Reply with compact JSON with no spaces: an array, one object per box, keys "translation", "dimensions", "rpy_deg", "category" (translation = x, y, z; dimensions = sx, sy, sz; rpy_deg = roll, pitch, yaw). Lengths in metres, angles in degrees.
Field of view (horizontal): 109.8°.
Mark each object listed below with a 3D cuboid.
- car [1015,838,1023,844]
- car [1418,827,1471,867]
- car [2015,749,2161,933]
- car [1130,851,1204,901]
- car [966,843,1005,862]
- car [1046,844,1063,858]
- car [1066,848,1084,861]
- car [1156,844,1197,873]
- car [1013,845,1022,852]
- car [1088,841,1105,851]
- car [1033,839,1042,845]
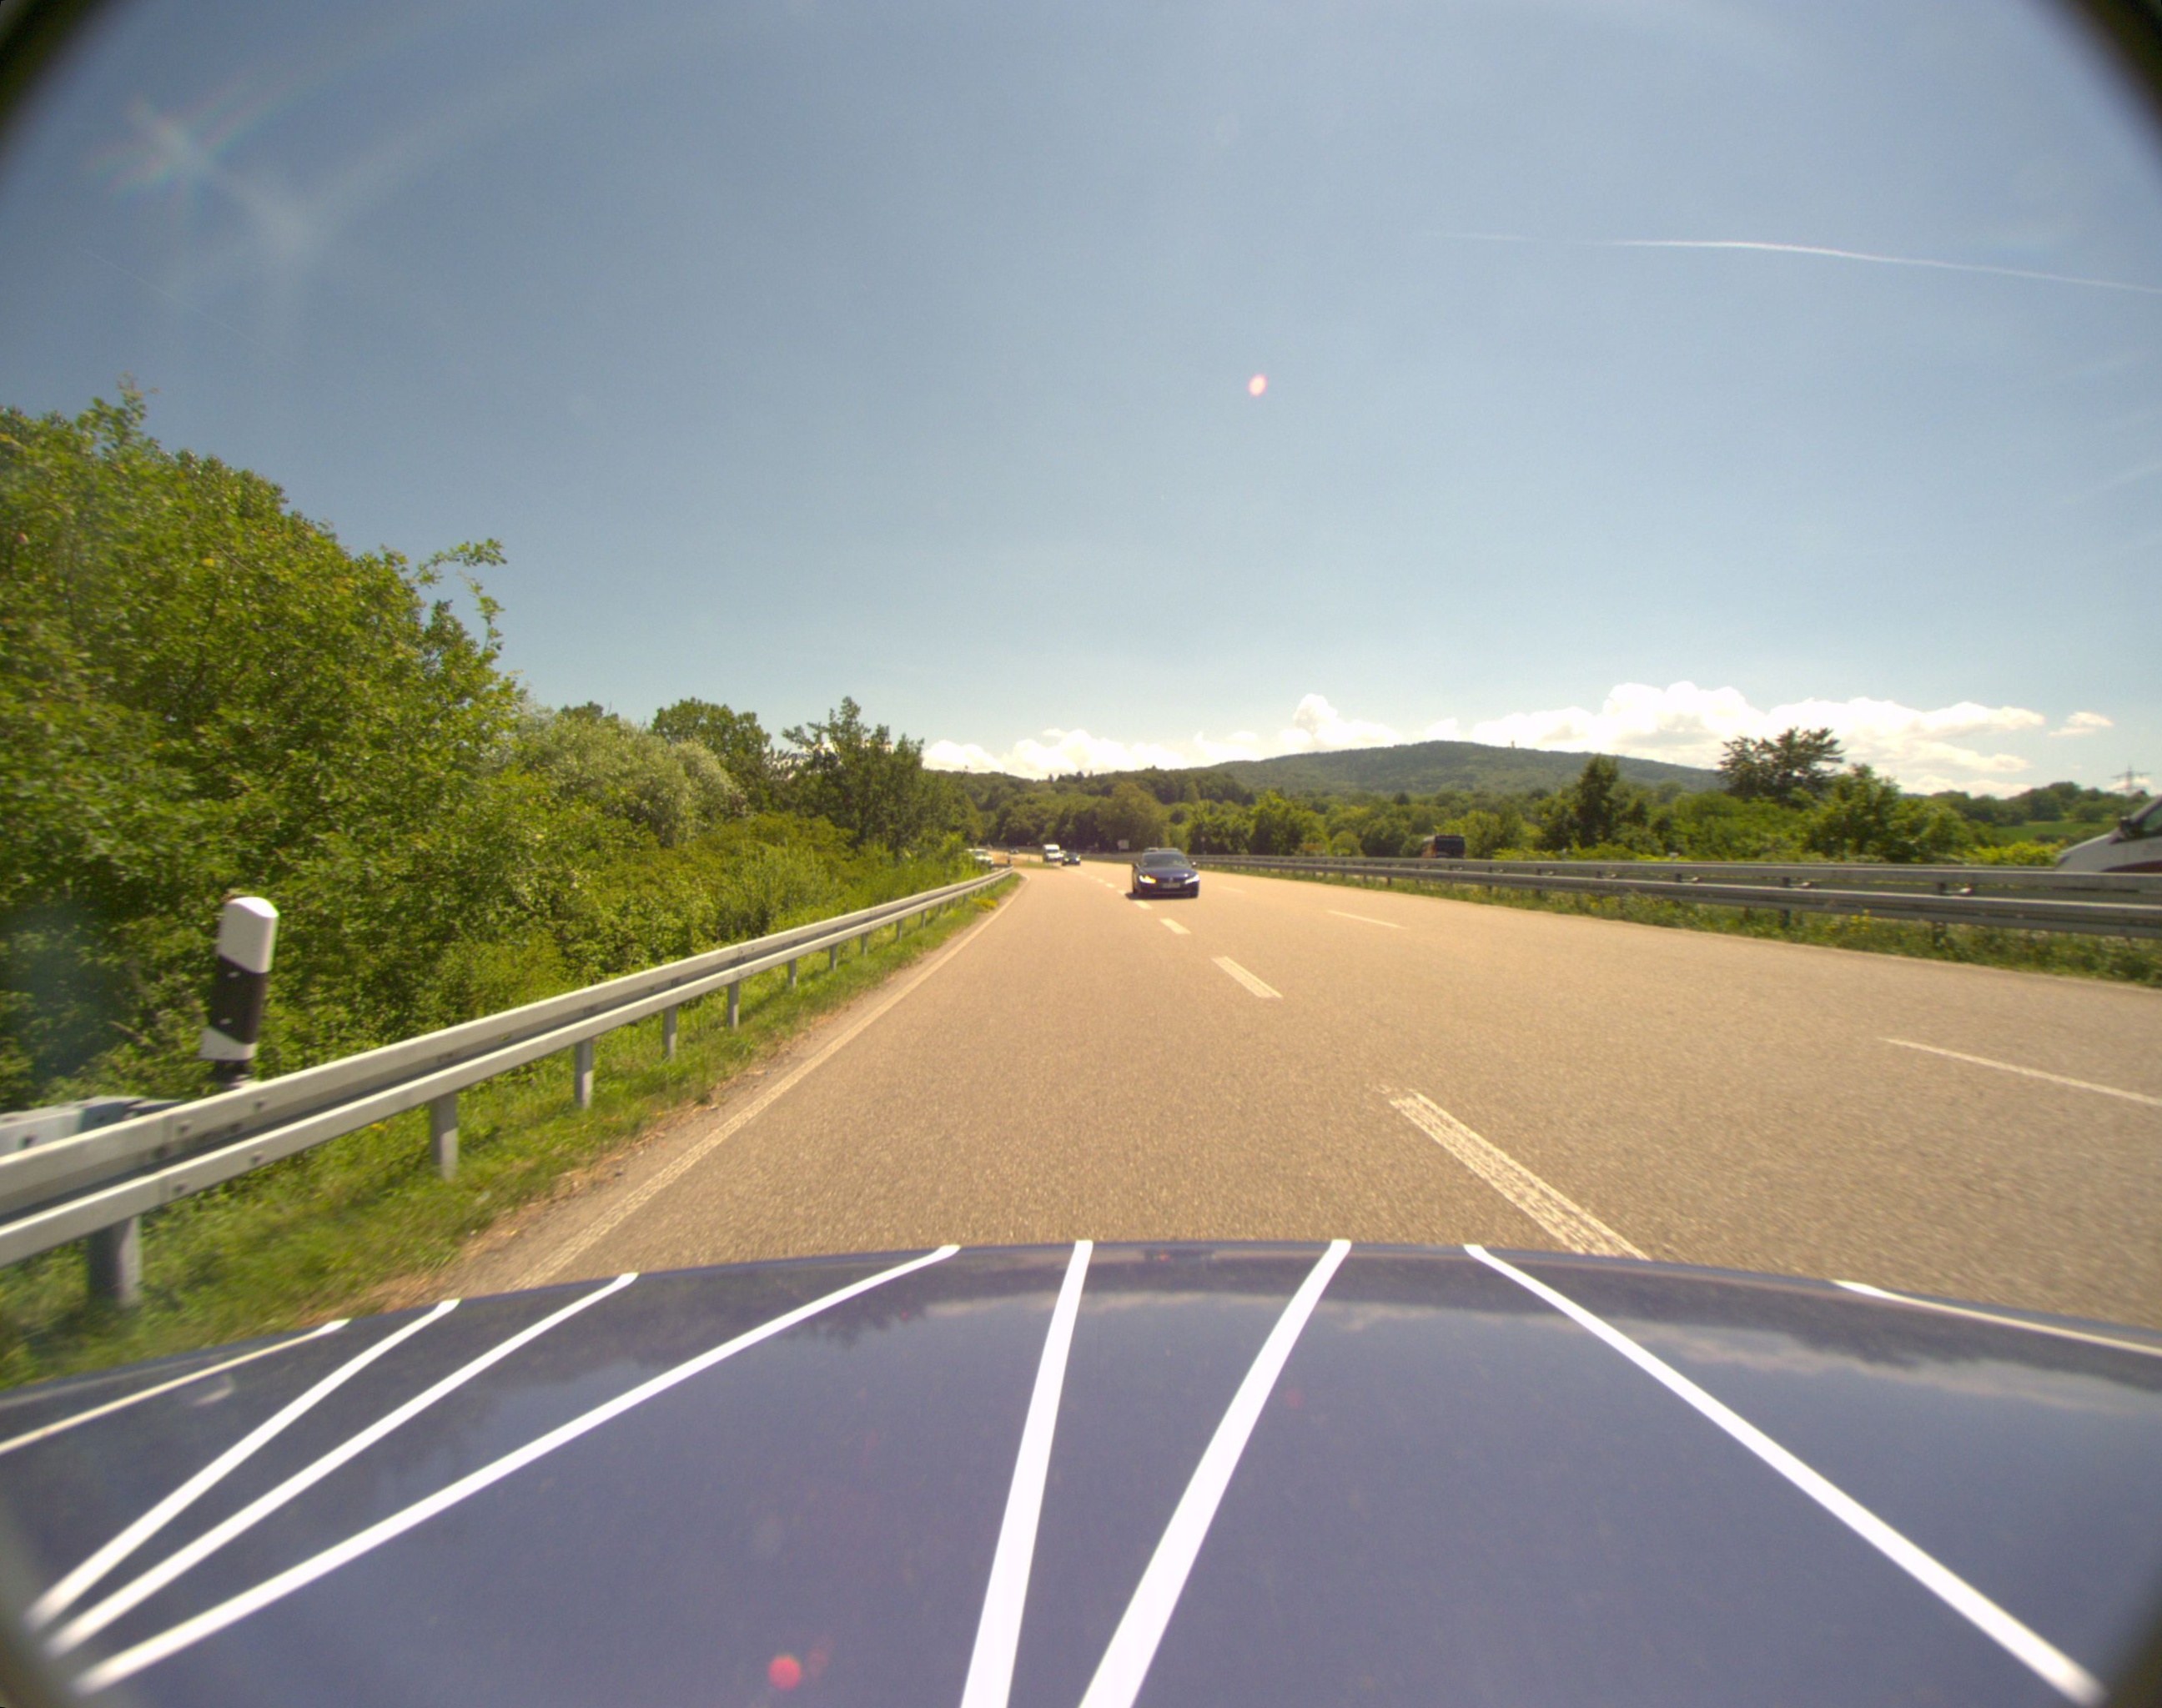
[{"translation":[-20.509,-4.256,250.092],"dimensions":[2.001,1.882,4.905],"rpy_deg":[-1,2,-12],"category":"car"},{"translation":[25.058,-0.575,52.599],"dimensions":[2.207,2.623,5.630],"rpy_deg":[0,2,15],"category":"car"},{"translation":[17.394,-0.136,9.554],"dimensions":[2.285,2.758,7.219],"rpy_deg":[0,2,0],"category":"car"},{"translation":[2.685,0.646,24.629],"dimensions":[1.846,1.400,4.469],"rpy_deg":[-1,1,0],"category":"car"},{"translation":[-8.887,-0.178,70.487],"dimensions":[1.889,1.724,4.458],"rpy_deg":[-2,2,-31],"category":"car"},{"translation":[-3.790,-0.453,108.681],"dimensions":[2.009,1.988,4.574],"rpy_deg":[-1,2,-8],"category":"car"},{"translation":[-0.732,0.043,85.753],"dimensions":[1.846,1.400,4.468],"rpy_deg":[-1,1,-2],"category":"car"},{"translation":[5.840,0.289,47.002],"dimensions":[1.798,1.658,4.554],"rpy_deg":[-3,0,-1],"category":"car"},{"translation":[-15.193,-1.328,180.981],"dimensions":[1.876,1.594,3.996],"rpy_deg":[-1,2,-8],"category":"car"},{"translation":[3.076,-1.528,150.377],"dimensions":[2.212,1.882,4.905],"rpy_deg":[-1,2,-13],"category":"car"},{"translation":[-13.092,-3.572,227.760],"dimensions":[2.001,1.882,4.905],"rpy_deg":[-1,2,-12],"category":"car"}]
